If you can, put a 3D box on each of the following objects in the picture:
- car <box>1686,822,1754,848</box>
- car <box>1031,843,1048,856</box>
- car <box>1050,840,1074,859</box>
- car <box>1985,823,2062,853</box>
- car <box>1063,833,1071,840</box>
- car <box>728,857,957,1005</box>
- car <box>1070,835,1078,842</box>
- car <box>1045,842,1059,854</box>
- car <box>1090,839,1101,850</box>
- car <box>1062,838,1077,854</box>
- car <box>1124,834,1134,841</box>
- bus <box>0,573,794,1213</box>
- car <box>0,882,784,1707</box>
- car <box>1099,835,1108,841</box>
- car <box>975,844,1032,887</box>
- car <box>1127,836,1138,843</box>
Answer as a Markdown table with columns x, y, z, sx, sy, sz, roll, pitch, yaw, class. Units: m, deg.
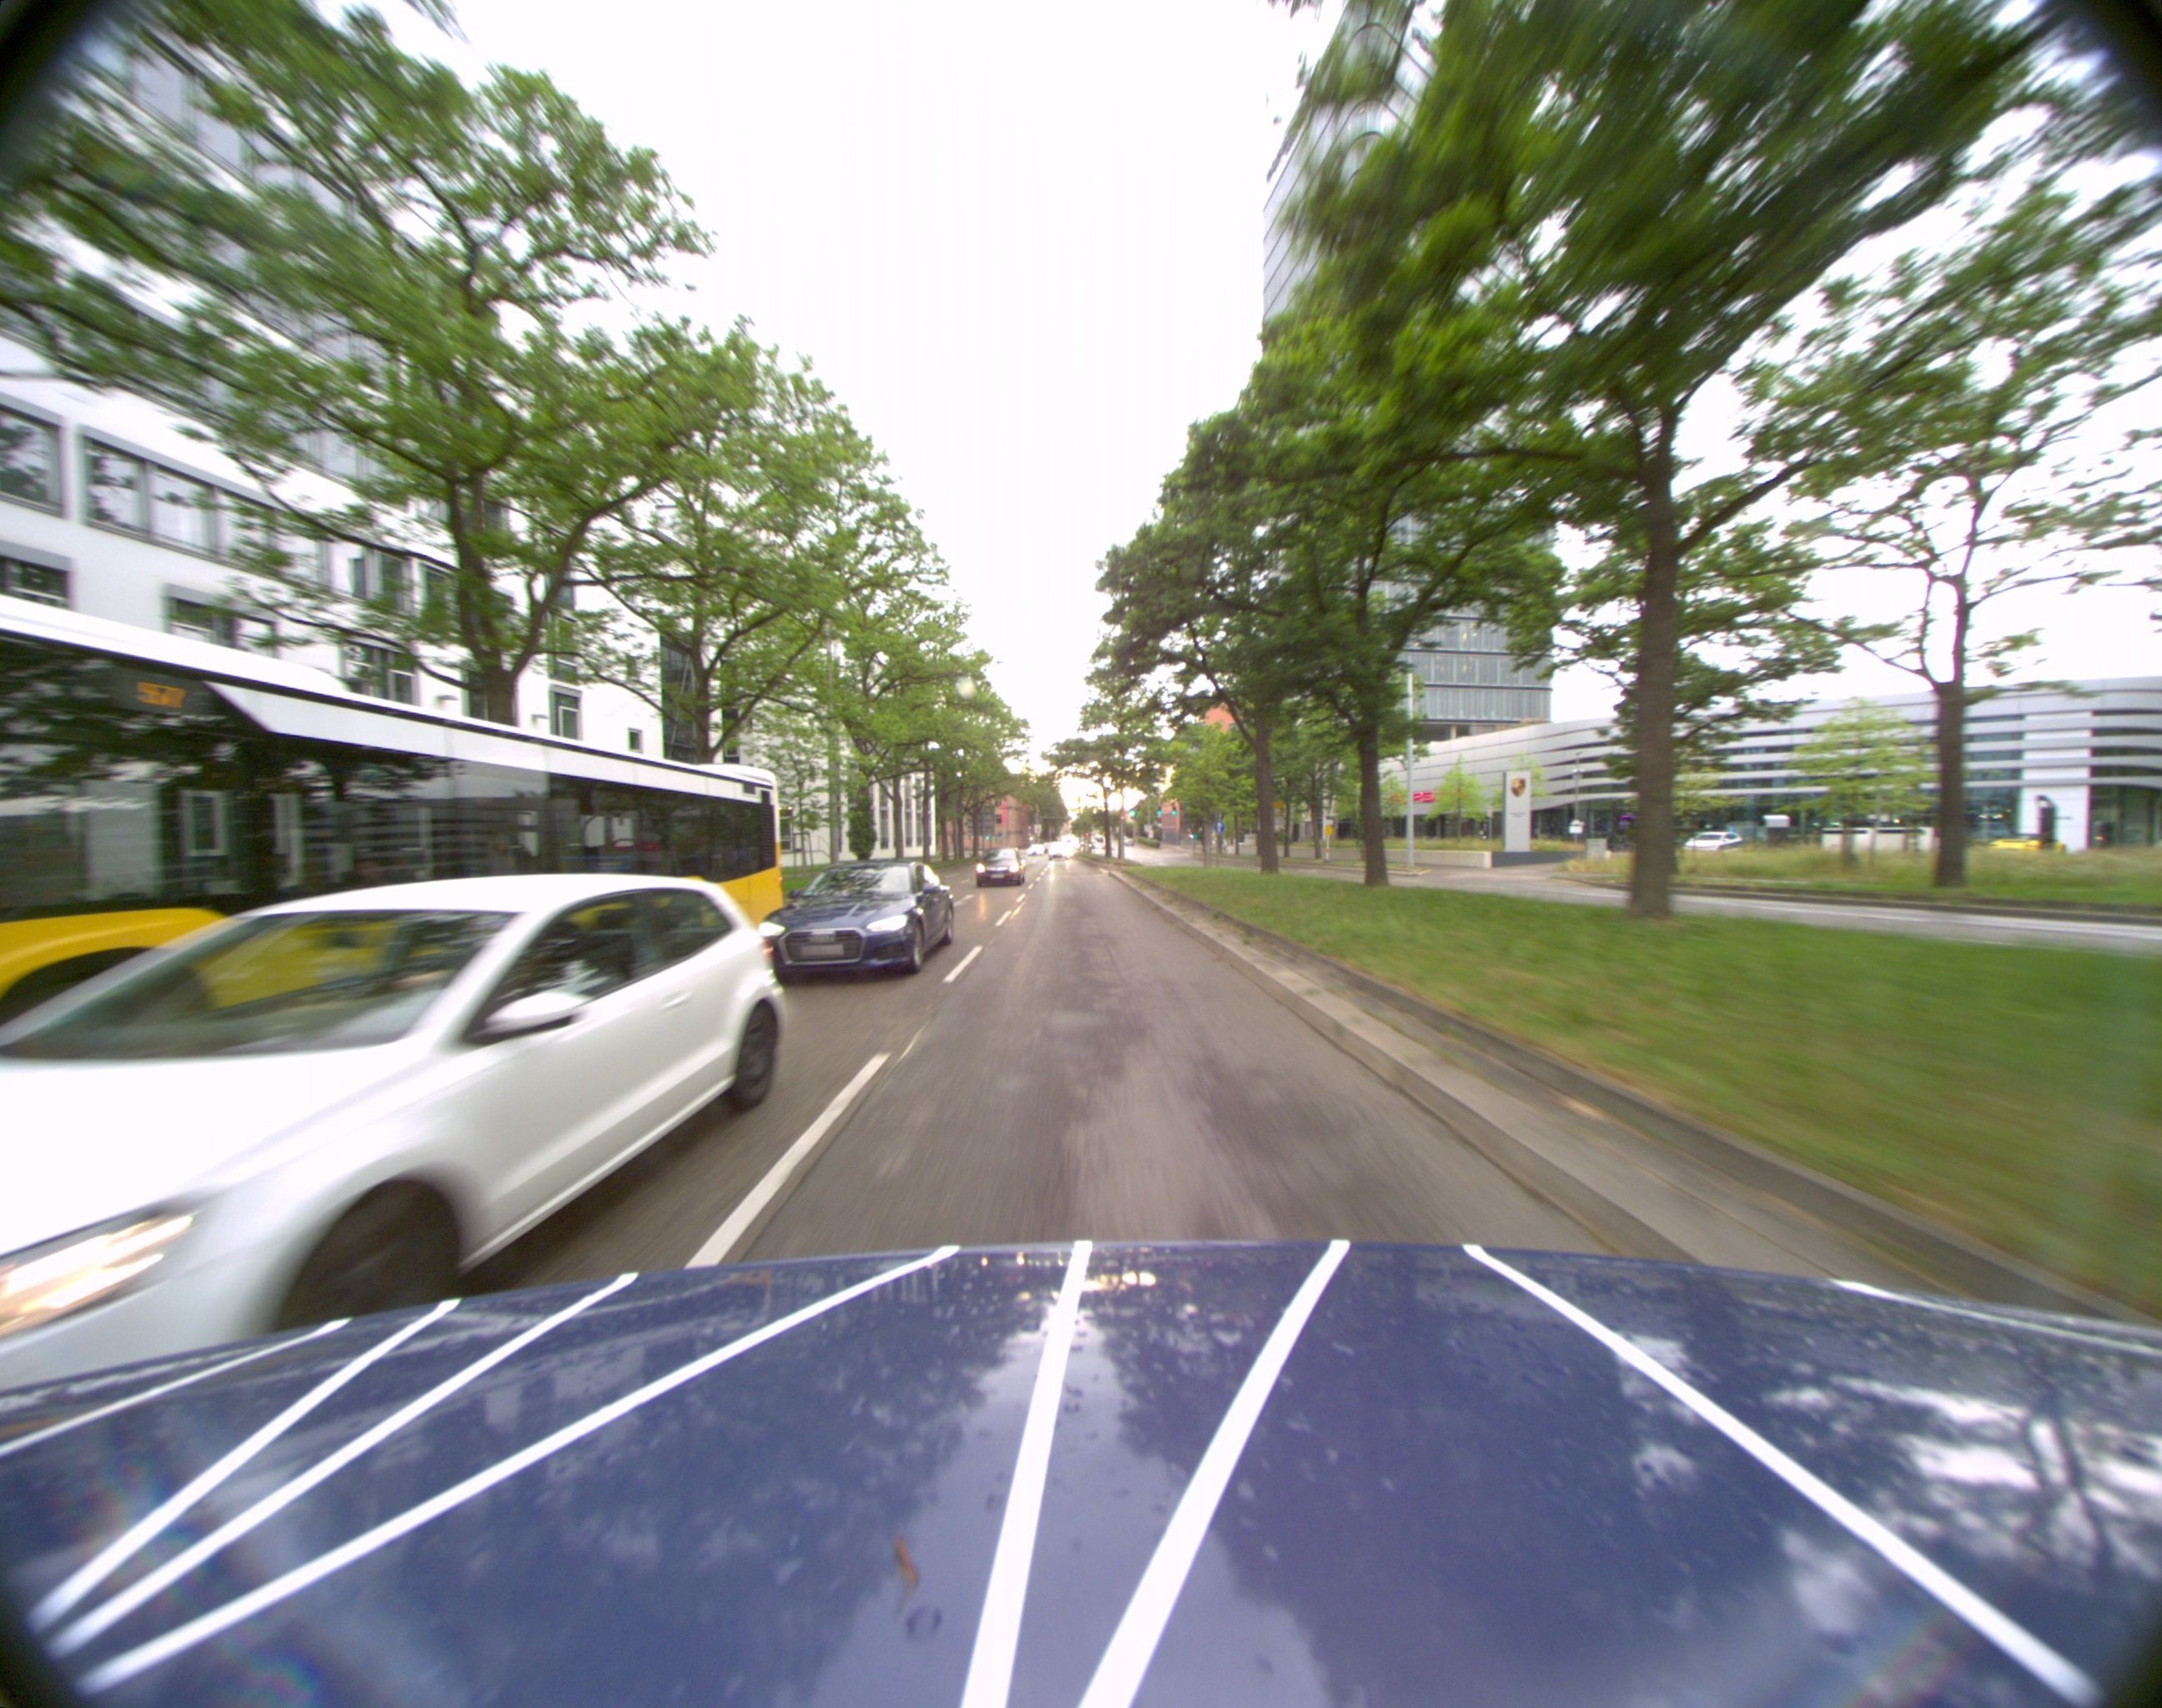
| x | y | z | sx | sy | sz | roll | pitch | yaw | class |
| --- | --- | --- | --- | --- | --- | --- | --- | --- | --- |
| 39.333 | -1.168 | 46.745 | 4.004 | 1.405 | 1.774 | -4 | 2 | -27 | car |
| -5.472 | -0.636 | 99.989 | 1.998 | 1.576 | 3.999 | -1 | 1 | 1 | car |
| -1.661 | -0.421 | 68.620 | 1.998 | 1.707 | 3.999 | -1 | 1 | 1 | car |
| 48.978 | -0.853 | 39.476 | 4.004 | 1.316 | 1.616 | -4 | 2 | -26 | car |
| -4.139 | -5.075 | 225.450 | 1.998 | 2.002 | 3.999 | -1 | 1 | 0 | car |
| -2.905 | 0.830 | 10.322 | 1.878 | 1.346 | 4.329 | -3 | 2 | -3 | car |
| -1.863 | -3.847 | 192.521 | 1.998 | 1.773 | 3.999 | -1 | 1 | 0 | car |
| -4.377 | -0.933 | 114.734 | 1.998 | 1.630 | 3.999 | -1 | 1 | 0 | car |
| 2.637 | -1.747 | 138.197 | 1.998 | 2.002 | 3.999 | -1 | 1 | 1 | car |
| -1.534 | -1.105 | 103.061 | 1.931 | 2.002 | 3.999 | -1 | 1 | 1 | car |
| 11.400 | -3.928 | 181.134 | 1.783 | 1.445 | 3.998 | -3 | 2 | -2 | car |
| -6.617 | 0.186 | 7.393 | 2.734 | 3.134 | 12.143 | -3 | 1 | 1 | bus |
| -2.822 | 0.945 | 2.989 | 1.745 | 1.424 | 3.811 | -1 | 1 | 1 | car |
| 5.509 | -3.940 | 189.170 | 1.846 | 1.581 | 4.171 | 0 | 2 | -3 | car |
| -2.958 | 0.386 | 29.701 | 1.625 | 1.426 | 3.550 | -3 | 2 | 3 | car |
| 11.177 | -3.223 | 164.475 | 1.894 | 1.445 | 3.998 | -3 | 2 | -3 | car |
